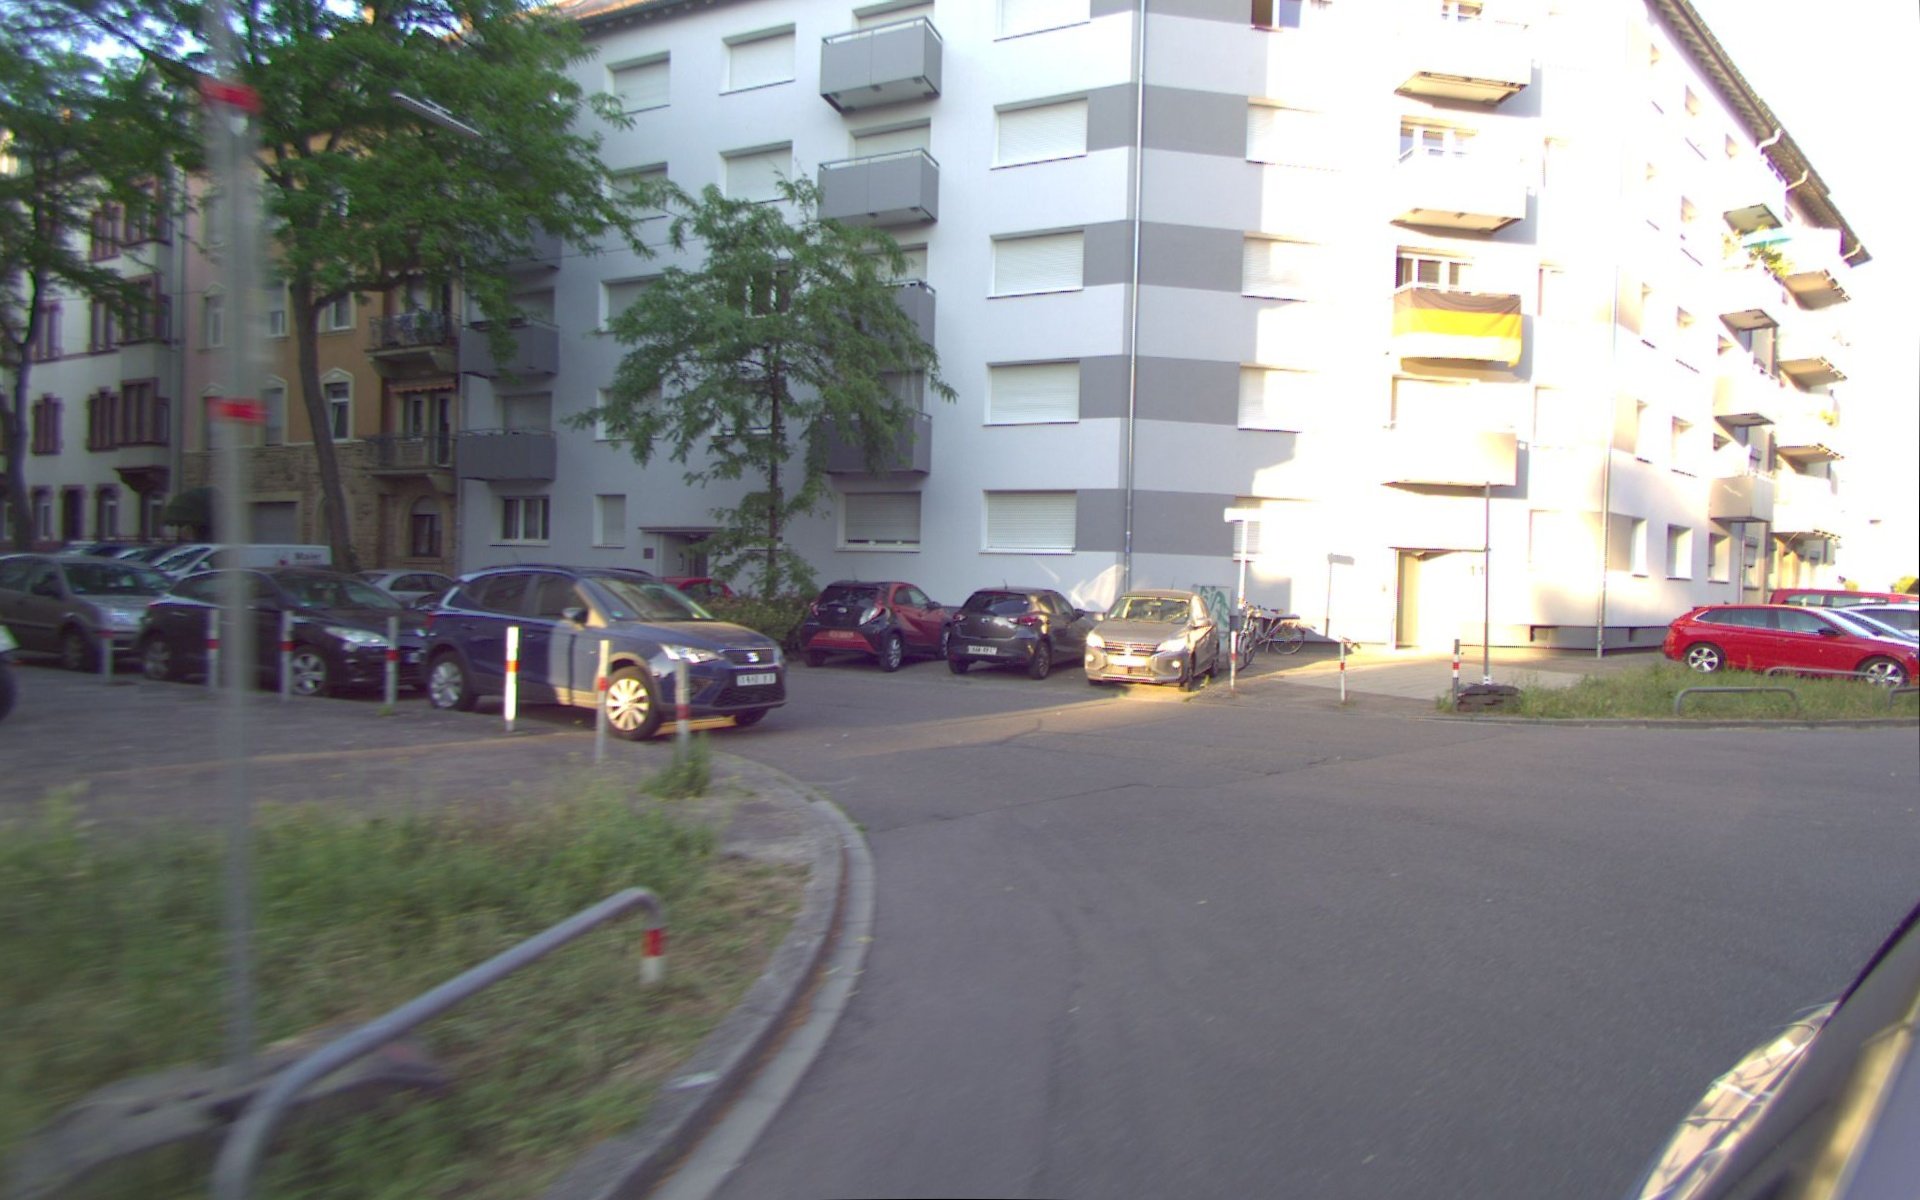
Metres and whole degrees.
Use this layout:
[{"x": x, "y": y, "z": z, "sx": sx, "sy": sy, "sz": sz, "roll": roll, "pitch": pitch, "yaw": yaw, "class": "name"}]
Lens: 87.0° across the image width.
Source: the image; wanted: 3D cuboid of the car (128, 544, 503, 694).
[{"x": -7.759, "y": 0.149, "z": 12.213, "sx": 3.956, "sy": 1.524, "sz": 1.955, "roll": 2, "pitch": 1, "yaw": 24, "class": "car"}]

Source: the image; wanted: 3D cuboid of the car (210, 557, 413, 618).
[{"x": -16.549, "y": -0.338, "z": 26.016, "sx": 1.981, "sy": 1.415, "sz": 3.962, "roll": 2, "pitch": 1, "yaw": 27, "class": "car"}]

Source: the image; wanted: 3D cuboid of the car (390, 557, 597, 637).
[{"x": -10.366, "y": -0.102, "z": 22.796, "sx": 1.977, "sy": 1.604, "sz": 3.970, "roll": 2, "pitch": 1, "yaw": 22, "class": "car"}]

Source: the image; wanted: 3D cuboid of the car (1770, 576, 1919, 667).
[{"x": 22.310, "y": 0.499, "z": 23.847, "sx": 1.964, "sy": 2.025, "sz": 4.686, "roll": 1, "pitch": 1, "yaw": -38, "class": "car"}]

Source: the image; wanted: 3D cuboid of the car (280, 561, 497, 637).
[{"x": -13.007, "y": -0.057, "z": 23.285, "sx": 1.978, "sy": 1.549, "sz": 3.968, "roll": 2, "pitch": 1, "yaw": 24, "class": "car"}]

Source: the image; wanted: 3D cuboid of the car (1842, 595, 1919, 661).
[{"x": 26.354, "y": 0.781, "z": 26.947, "sx": 1.963, "sy": 1.705, "sz": 3.998, "roll": 1, "pitch": 1, "yaw": -38, "class": "car"}]

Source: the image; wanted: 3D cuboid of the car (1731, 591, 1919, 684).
[{"x": 18.292, "y": 0.726, "z": 20.458, "sx": 1.965, "sy": 1.682, "sz": 3.994, "roll": 1, "pitch": 1, "yaw": -41, "class": "car"}]

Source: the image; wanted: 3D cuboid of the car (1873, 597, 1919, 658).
[{"x": 28.473, "y": 0.825, "z": 28.341, "sx": 1.962, "sy": 1.705, "sz": 4.000, "roll": 1, "pitch": 1, "yaw": -36, "class": "car"}]

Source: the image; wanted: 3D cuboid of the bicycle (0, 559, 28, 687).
[{"x": -9.872, "y": 0.239, "z": 9.595, "sx": 0.671, "sy": 1.297, "sz": 1.908, "roll": 1, "pitch": 1, "yaw": -13, "class": "bicycle"}]

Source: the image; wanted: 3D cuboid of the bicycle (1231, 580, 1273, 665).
[{"x": 5.206, "y": 0.365, "z": 17.965, "sx": 0.510, "sy": 1.401, "sz": 2.487, "roll": 1, "pitch": 1, "yaw": 20, "class": "bicycle"}]

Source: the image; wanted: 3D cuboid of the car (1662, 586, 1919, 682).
[{"x": 16.189, "y": 0.580, "z": 19.220, "sx": 1.888, "sy": 1.560, "sz": 4.312, "roll": 1, "pitch": 1, "yaw": -38, "class": "car"}]

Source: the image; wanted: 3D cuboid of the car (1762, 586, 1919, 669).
[{"x": 20.135, "y": 0.582, "z": 21.993, "sx": 1.754, "sy": 1.649, "sz": 3.994, "roll": 1, "pitch": 1, "yaw": -41, "class": "car"}]

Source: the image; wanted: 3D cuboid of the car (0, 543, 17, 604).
[{"x": -34.260, "y": -0.904, "z": 33.595, "sx": 1.984, "sy": 2.039, "sz": 3.954, "roll": 0, "pitch": -1, "yaw": 32, "class": "car"}]

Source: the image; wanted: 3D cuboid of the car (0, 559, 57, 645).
[{"x": -17.198, "y": -0.014, "z": 16.632, "sx": 3.956, "sy": 1.371, "sz": 2.079, "roll": 2, "pitch": 1, "yaw": 24, "class": "car"}]

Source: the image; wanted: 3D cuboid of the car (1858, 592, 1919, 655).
[{"x": 29.847, "y": 0.742, "z": 30.404, "sx": 1.964, "sy": 1.861, "sz": 3.997, "roll": 1, "pitch": 1, "yaw": -38, "class": "car"}]

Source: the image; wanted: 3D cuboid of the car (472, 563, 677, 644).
[{"x": -8.211, "y": 0.026, "z": 21.943, "sx": 1.977, "sy": 1.549, "sz": 3.970, "roll": 2, "pitch": 1, "yaw": 22, "class": "car"}]

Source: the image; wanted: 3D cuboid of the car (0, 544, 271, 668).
[{"x": -12.045, "y": 0.018, "z": 14.276, "sx": 3.951, "sy": 1.524, "sz": 1.959, "roll": 2, "pitch": 1, "yaw": 21, "class": "car"}]

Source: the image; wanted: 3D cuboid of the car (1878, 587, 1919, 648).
[{"x": 33.200, "y": 0.628, "z": 33.061, "sx": 1.963, "sy": 1.992, "sz": 4.431, "roll": 1, "pitch": 1, "yaw": -36, "class": "car"}]

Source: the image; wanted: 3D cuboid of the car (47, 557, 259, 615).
[{"x": -21.708, "y": -0.381, "z": 27.416, "sx": 1.977, "sy": 1.415, "sz": 4.076, "roll": 2, "pitch": 1, "yaw": 22, "class": "car"}]

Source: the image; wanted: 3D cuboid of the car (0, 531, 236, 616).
[{"x": -23.774, "y": -0.732, "z": 28.745, "sx": 1.977, "sy": 2.167, "sz": 4.941, "roll": 2, "pitch": 1, "yaw": 22, "class": "car"}]

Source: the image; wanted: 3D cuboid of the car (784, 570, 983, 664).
[{"x": -1.276, "y": 0.249, "z": 18.651, "sx": 1.979, "sy": 1.482, "sz": 3.967, "roll": 2, "pitch": 1, "yaw": 24, "class": "car"}]

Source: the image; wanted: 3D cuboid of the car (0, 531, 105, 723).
[{"x": -8.583, "y": 0.171, "z": 8.044, "sx": 2.721, "sy": 1.474, "sz": 0.847, "roll": 1, "pitch": 1, "yaw": -6, "class": "car"}]

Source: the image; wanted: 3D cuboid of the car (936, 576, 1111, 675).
[{"x": 1.261, "y": 0.372, "z": 18.094, "sx": 1.828, "sy": 1.504, "sz": 3.967, "roll": 2, "pitch": 1, "yaw": 24, "class": "car"}]

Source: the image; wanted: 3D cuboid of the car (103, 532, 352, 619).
[{"x": -19.028, "y": -0.640, "z": 26.613, "sx": 2.163, "sy": 2.039, "sz": 4.958, "roll": 2, "pitch": 1, "yaw": 20, "class": "car"}]

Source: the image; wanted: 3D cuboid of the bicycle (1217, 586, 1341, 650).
[{"x": 6.700, "y": 0.375, "z": 21.283, "sx": 2.403, "sy": 1.289, "sz": 0.699, "roll": 1, "pitch": 0, "yaw": -9, "class": "bicycle"}]

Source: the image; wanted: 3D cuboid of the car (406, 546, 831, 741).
[{"x": -3.443, "y": 0.303, "z": 10.120, "sx": 3.963, "sy": 1.592, "sz": 1.812, "roll": 2, "pitch": 1, "yaw": 28, "class": "car"}]

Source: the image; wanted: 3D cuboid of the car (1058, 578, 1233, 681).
[{"x": 3.184, "y": 0.395, "z": 16.708, "sx": 1.978, "sy": 1.438, "sz": 3.968, "roll": 2, "pitch": 1, "yaw": 24, "class": "car"}]

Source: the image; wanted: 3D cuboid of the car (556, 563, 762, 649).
[{"x": -5.970, "y": 0.077, "z": 20.563, "sx": 1.977, "sy": 1.535, "sz": 3.970, "roll": 2, "pitch": 1, "yaw": 23, "class": "car"}]
